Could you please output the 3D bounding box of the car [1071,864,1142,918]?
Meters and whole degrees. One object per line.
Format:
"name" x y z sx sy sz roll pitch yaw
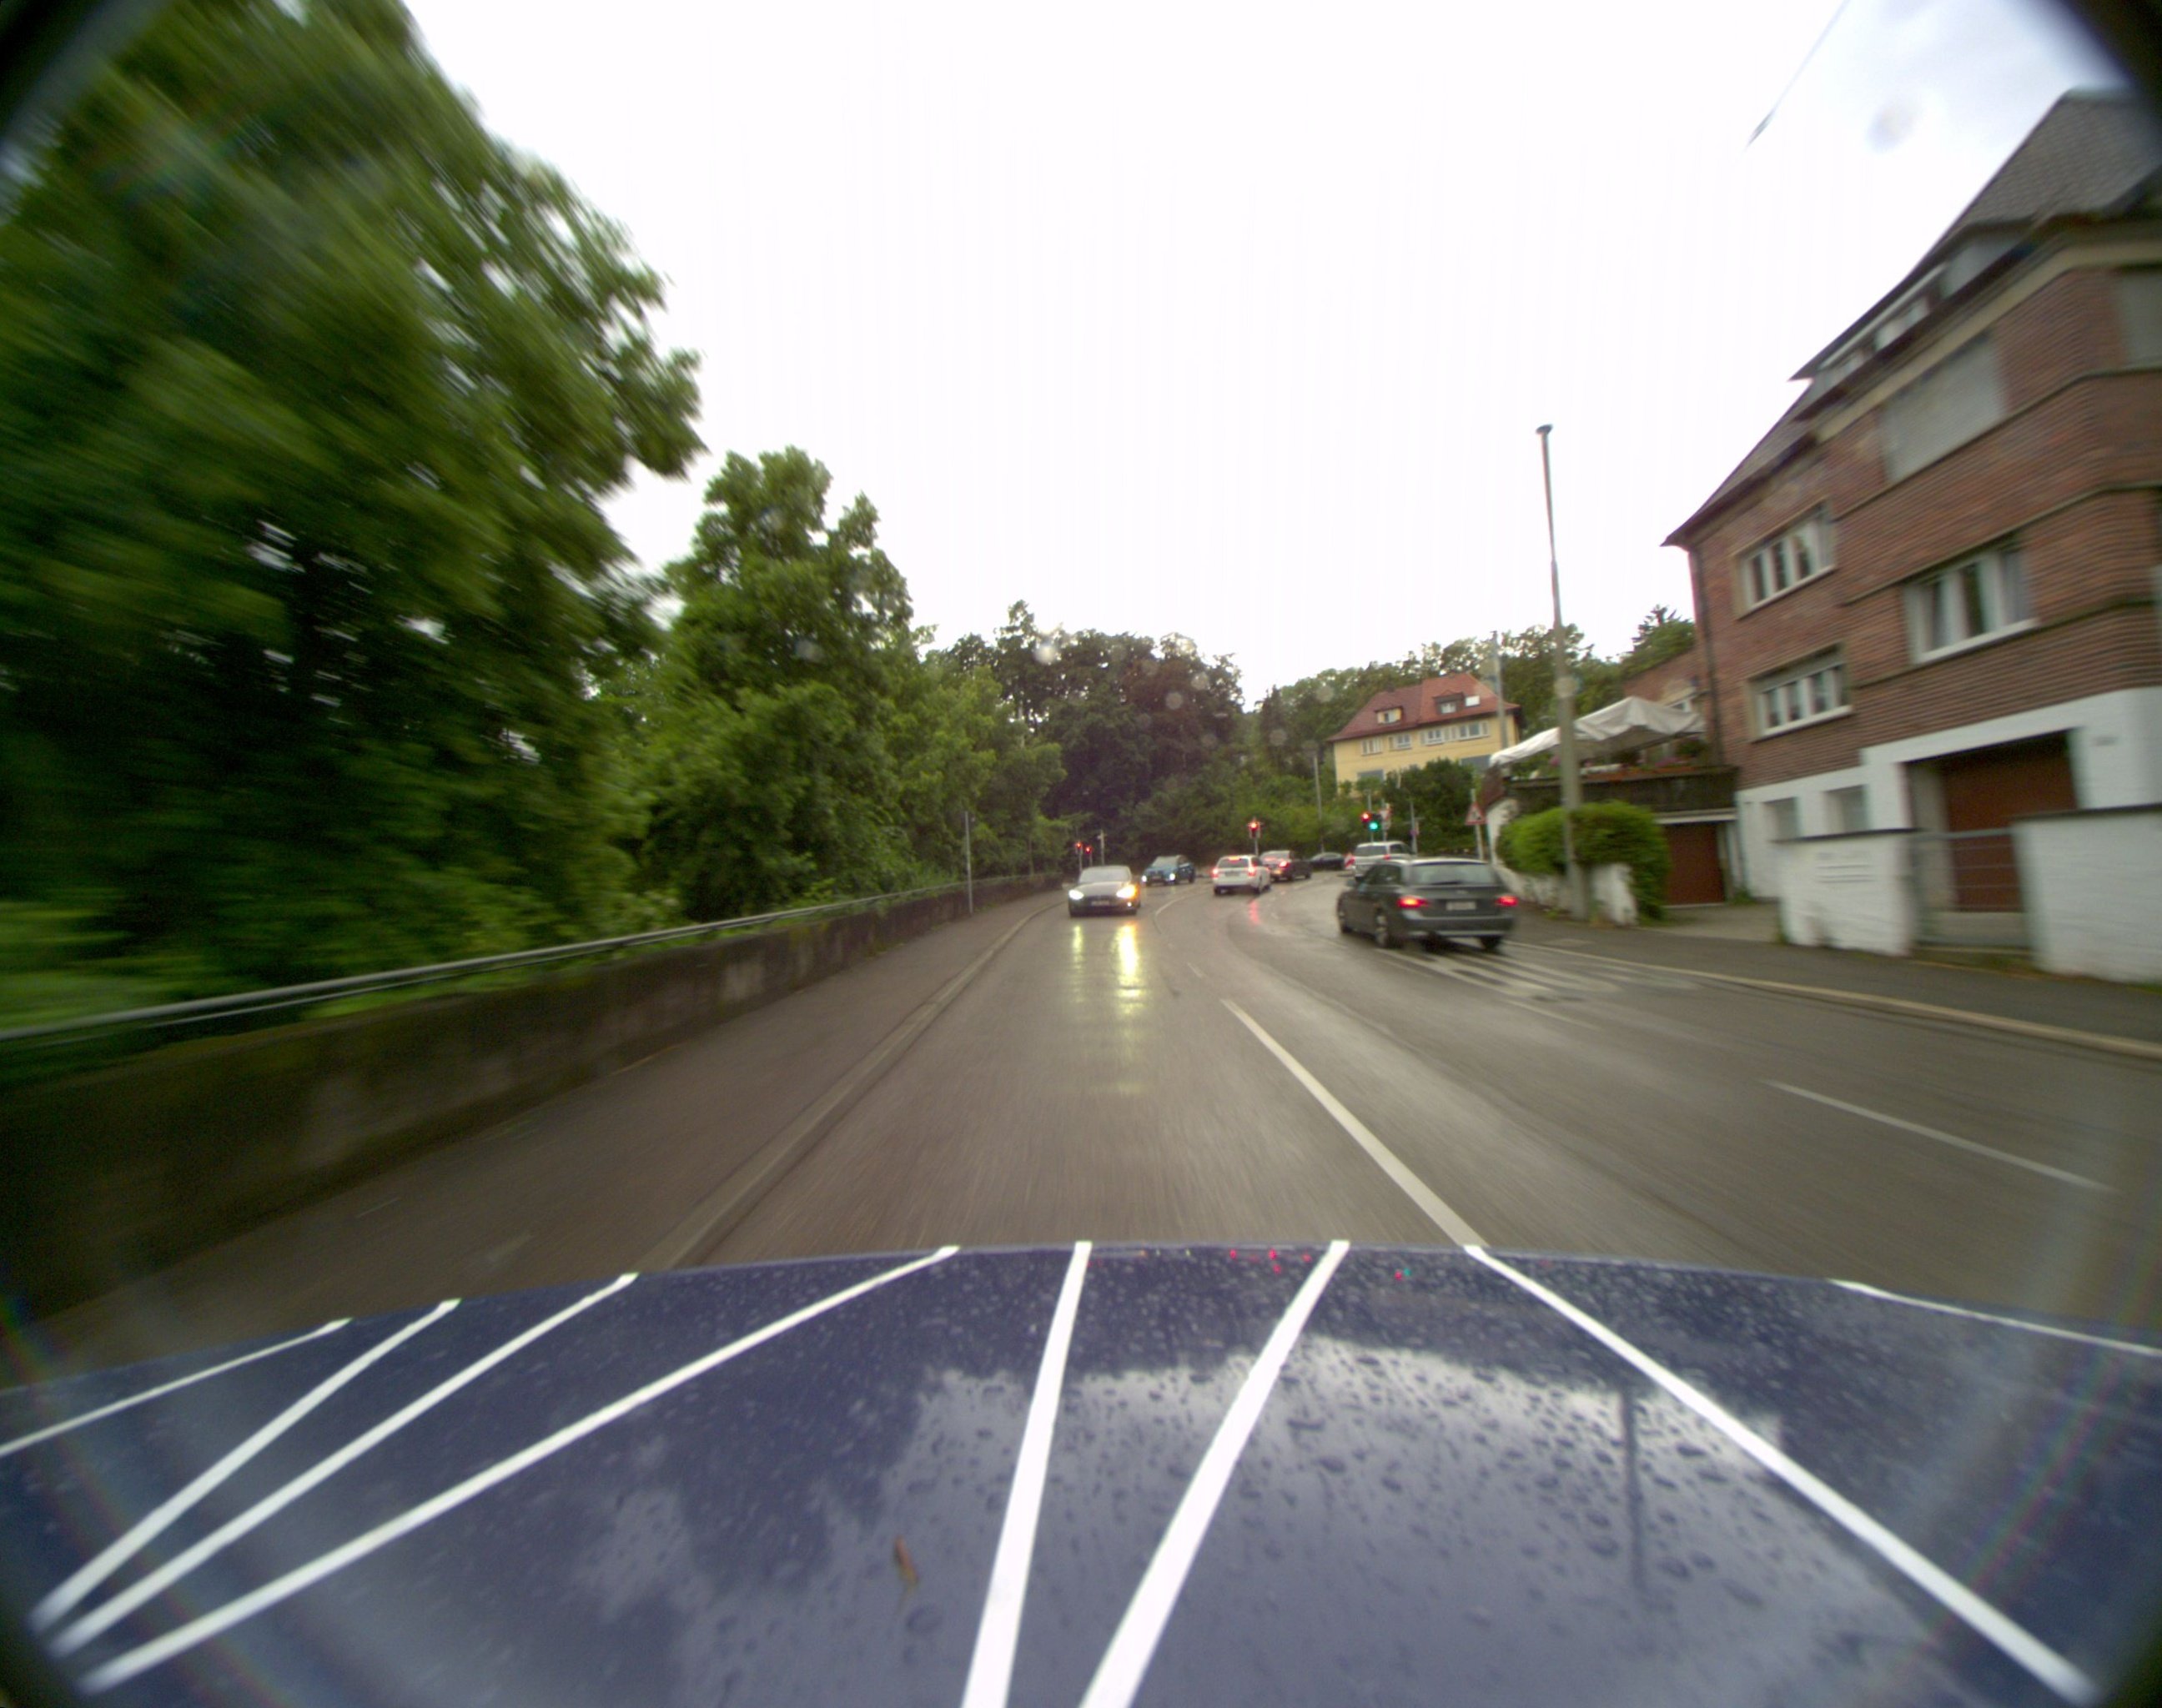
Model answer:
"car" 0.880 1.043 22.985 1.834 1.384 4.326 -2 0 6

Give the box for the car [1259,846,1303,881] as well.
"car" 9.676 0.434 36.627 1.861 1.387 4.600 -3 1 16

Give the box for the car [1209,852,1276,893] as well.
"car" 6.468 0.681 30.075 1.849 1.465 4.447 -1 1 22

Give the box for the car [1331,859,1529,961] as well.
"car" 5.785 0.830 13.262 1.740 1.442 4.618 -1 0 6

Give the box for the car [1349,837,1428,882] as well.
"car" 13.123 0.192 32.241 1.712 1.576 4.468 -3 1 41

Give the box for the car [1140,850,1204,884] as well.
"car" 5.007 0.726 41.198 1.798 1.599 4.050 -6 -4 31
